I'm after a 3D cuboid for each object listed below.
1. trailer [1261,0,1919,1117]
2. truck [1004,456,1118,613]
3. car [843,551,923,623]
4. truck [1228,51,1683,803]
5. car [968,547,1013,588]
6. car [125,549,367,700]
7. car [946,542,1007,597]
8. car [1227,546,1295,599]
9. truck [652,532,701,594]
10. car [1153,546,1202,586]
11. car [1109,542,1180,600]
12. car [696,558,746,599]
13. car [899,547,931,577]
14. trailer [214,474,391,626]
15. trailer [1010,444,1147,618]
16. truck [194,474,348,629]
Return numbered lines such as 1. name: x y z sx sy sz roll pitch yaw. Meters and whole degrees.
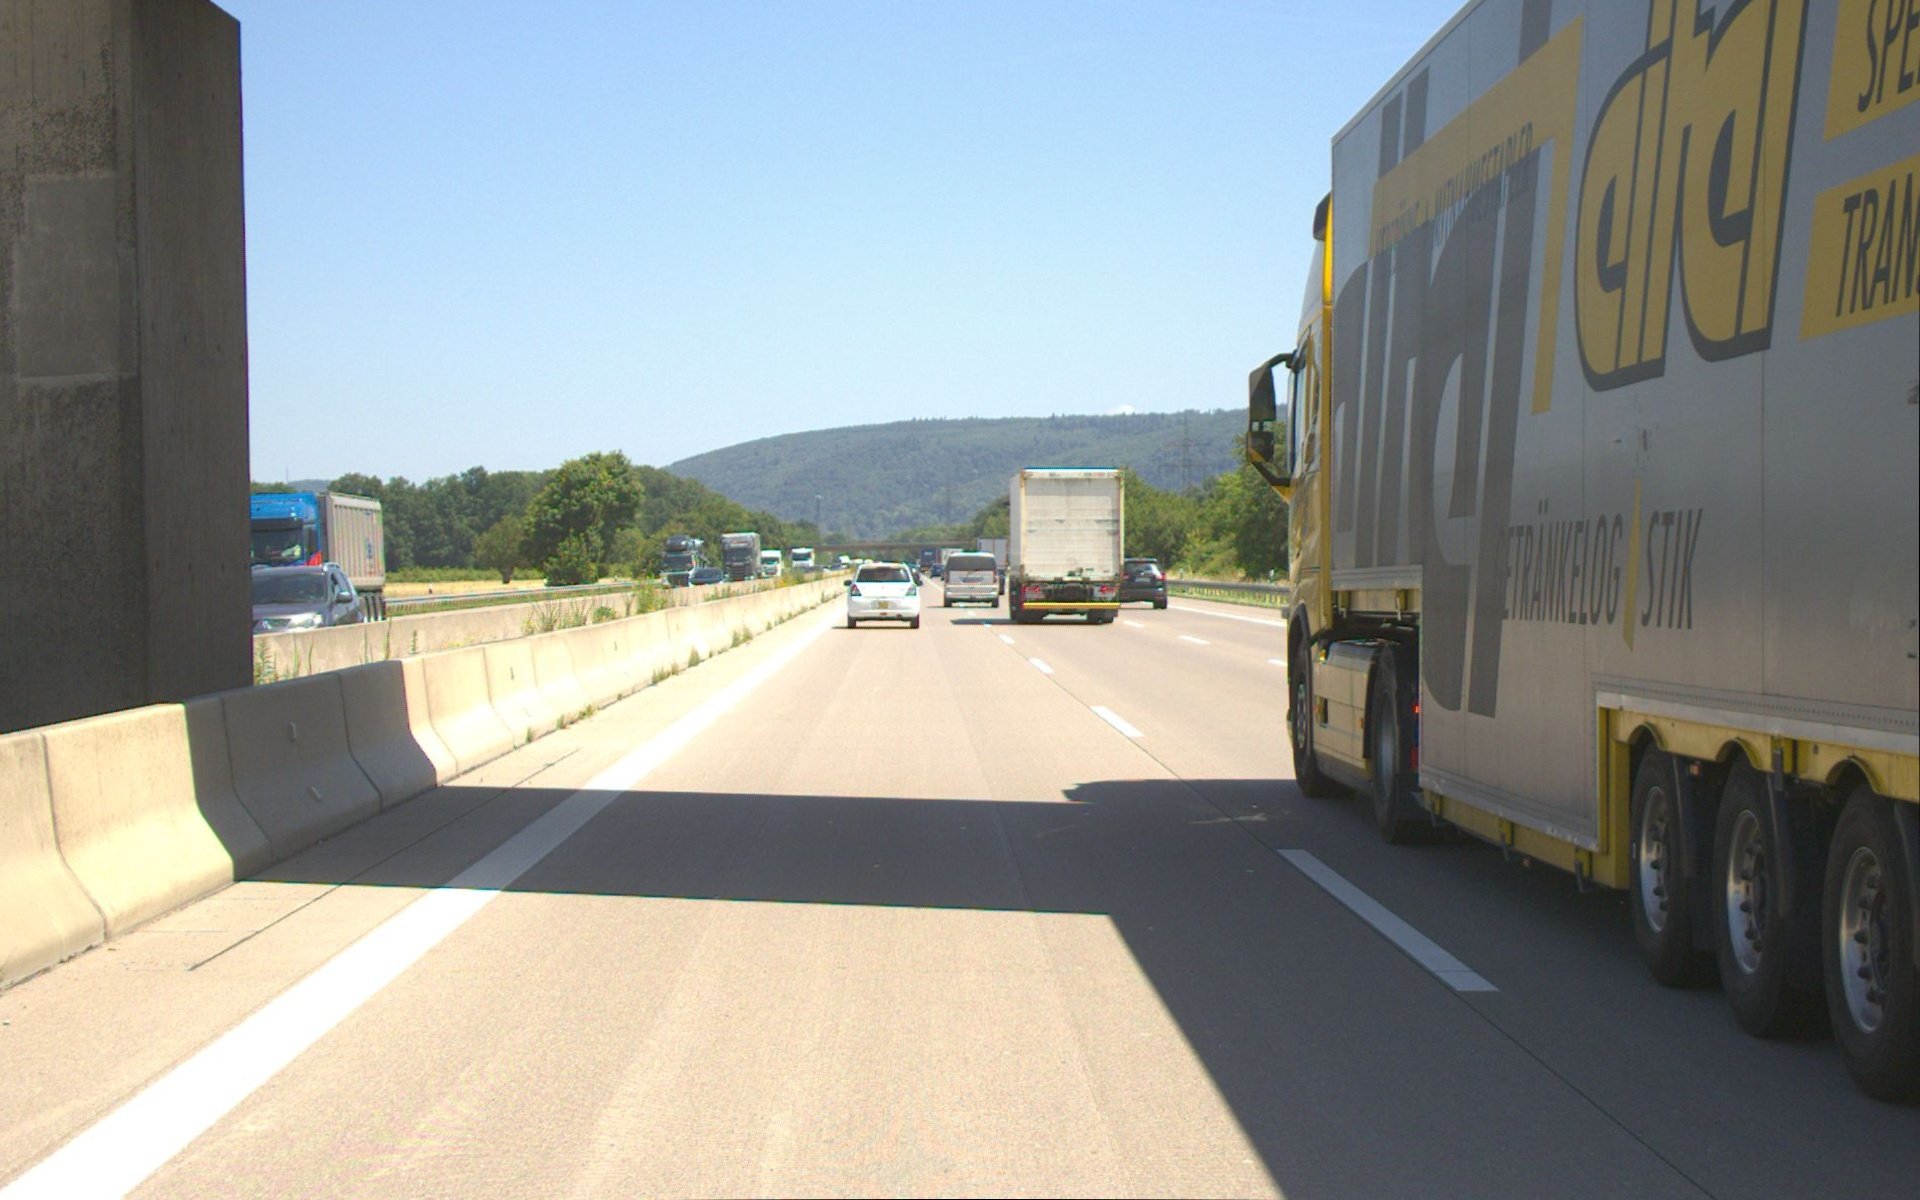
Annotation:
1. trailer: 3.213 -0.913 15.156 1.993 4.240 15.201 1 1 -2
2. truck: 2.539 -1.655 87.862 2.580 3.864 4.984 1 1 -2
3. car: -1.821 -0.328 80.706 1.819 1.656 4.000 0 1 -2
4. truck: 3.017 -1.006 22.108 1.993 4.240 5.195 1 1 -1
5. car: 1.468 -1.572 166.058 1.993 1.842 4.000 2 1 -1
6. car: -10.098 0.296 49.104 2.306 2.007 5.655 1 1 -1
7. car: 0.555 -1.074 119.366 1.993 1.842 4.000 1 1 -1
8. car: 11.053 -1.034 126.398 1.993 1.842 4.000 2 1 -1
9. truck: -21.408 -2.824 259.499 3.231 4.591 6.251 1 1 -1
10. car: 10.543 -1.661 166.848 1.993 1.842 4.000 2 1 -1
11. car: 6.205 -0.992 116.009 1.993 1.842 4.000 2 1 -1
12. car: -11.045 -1.002 159.022 1.993 1.856 5.467 1 1 -1
13. car: -2.975 -2.524 227.870 1.993 1.842 4.000 2 1 -1
14. trailer: -18.902 -1.436 99.674 2.981 4.076 11.606 -1 1 -1
15. trailer: 2.734 -1.613 82.412 2.580 3.864 10.374 1 1 -2
16. truck: -18.842 -1.325 94.362 2.981 4.076 6.466 -1 1 -1
